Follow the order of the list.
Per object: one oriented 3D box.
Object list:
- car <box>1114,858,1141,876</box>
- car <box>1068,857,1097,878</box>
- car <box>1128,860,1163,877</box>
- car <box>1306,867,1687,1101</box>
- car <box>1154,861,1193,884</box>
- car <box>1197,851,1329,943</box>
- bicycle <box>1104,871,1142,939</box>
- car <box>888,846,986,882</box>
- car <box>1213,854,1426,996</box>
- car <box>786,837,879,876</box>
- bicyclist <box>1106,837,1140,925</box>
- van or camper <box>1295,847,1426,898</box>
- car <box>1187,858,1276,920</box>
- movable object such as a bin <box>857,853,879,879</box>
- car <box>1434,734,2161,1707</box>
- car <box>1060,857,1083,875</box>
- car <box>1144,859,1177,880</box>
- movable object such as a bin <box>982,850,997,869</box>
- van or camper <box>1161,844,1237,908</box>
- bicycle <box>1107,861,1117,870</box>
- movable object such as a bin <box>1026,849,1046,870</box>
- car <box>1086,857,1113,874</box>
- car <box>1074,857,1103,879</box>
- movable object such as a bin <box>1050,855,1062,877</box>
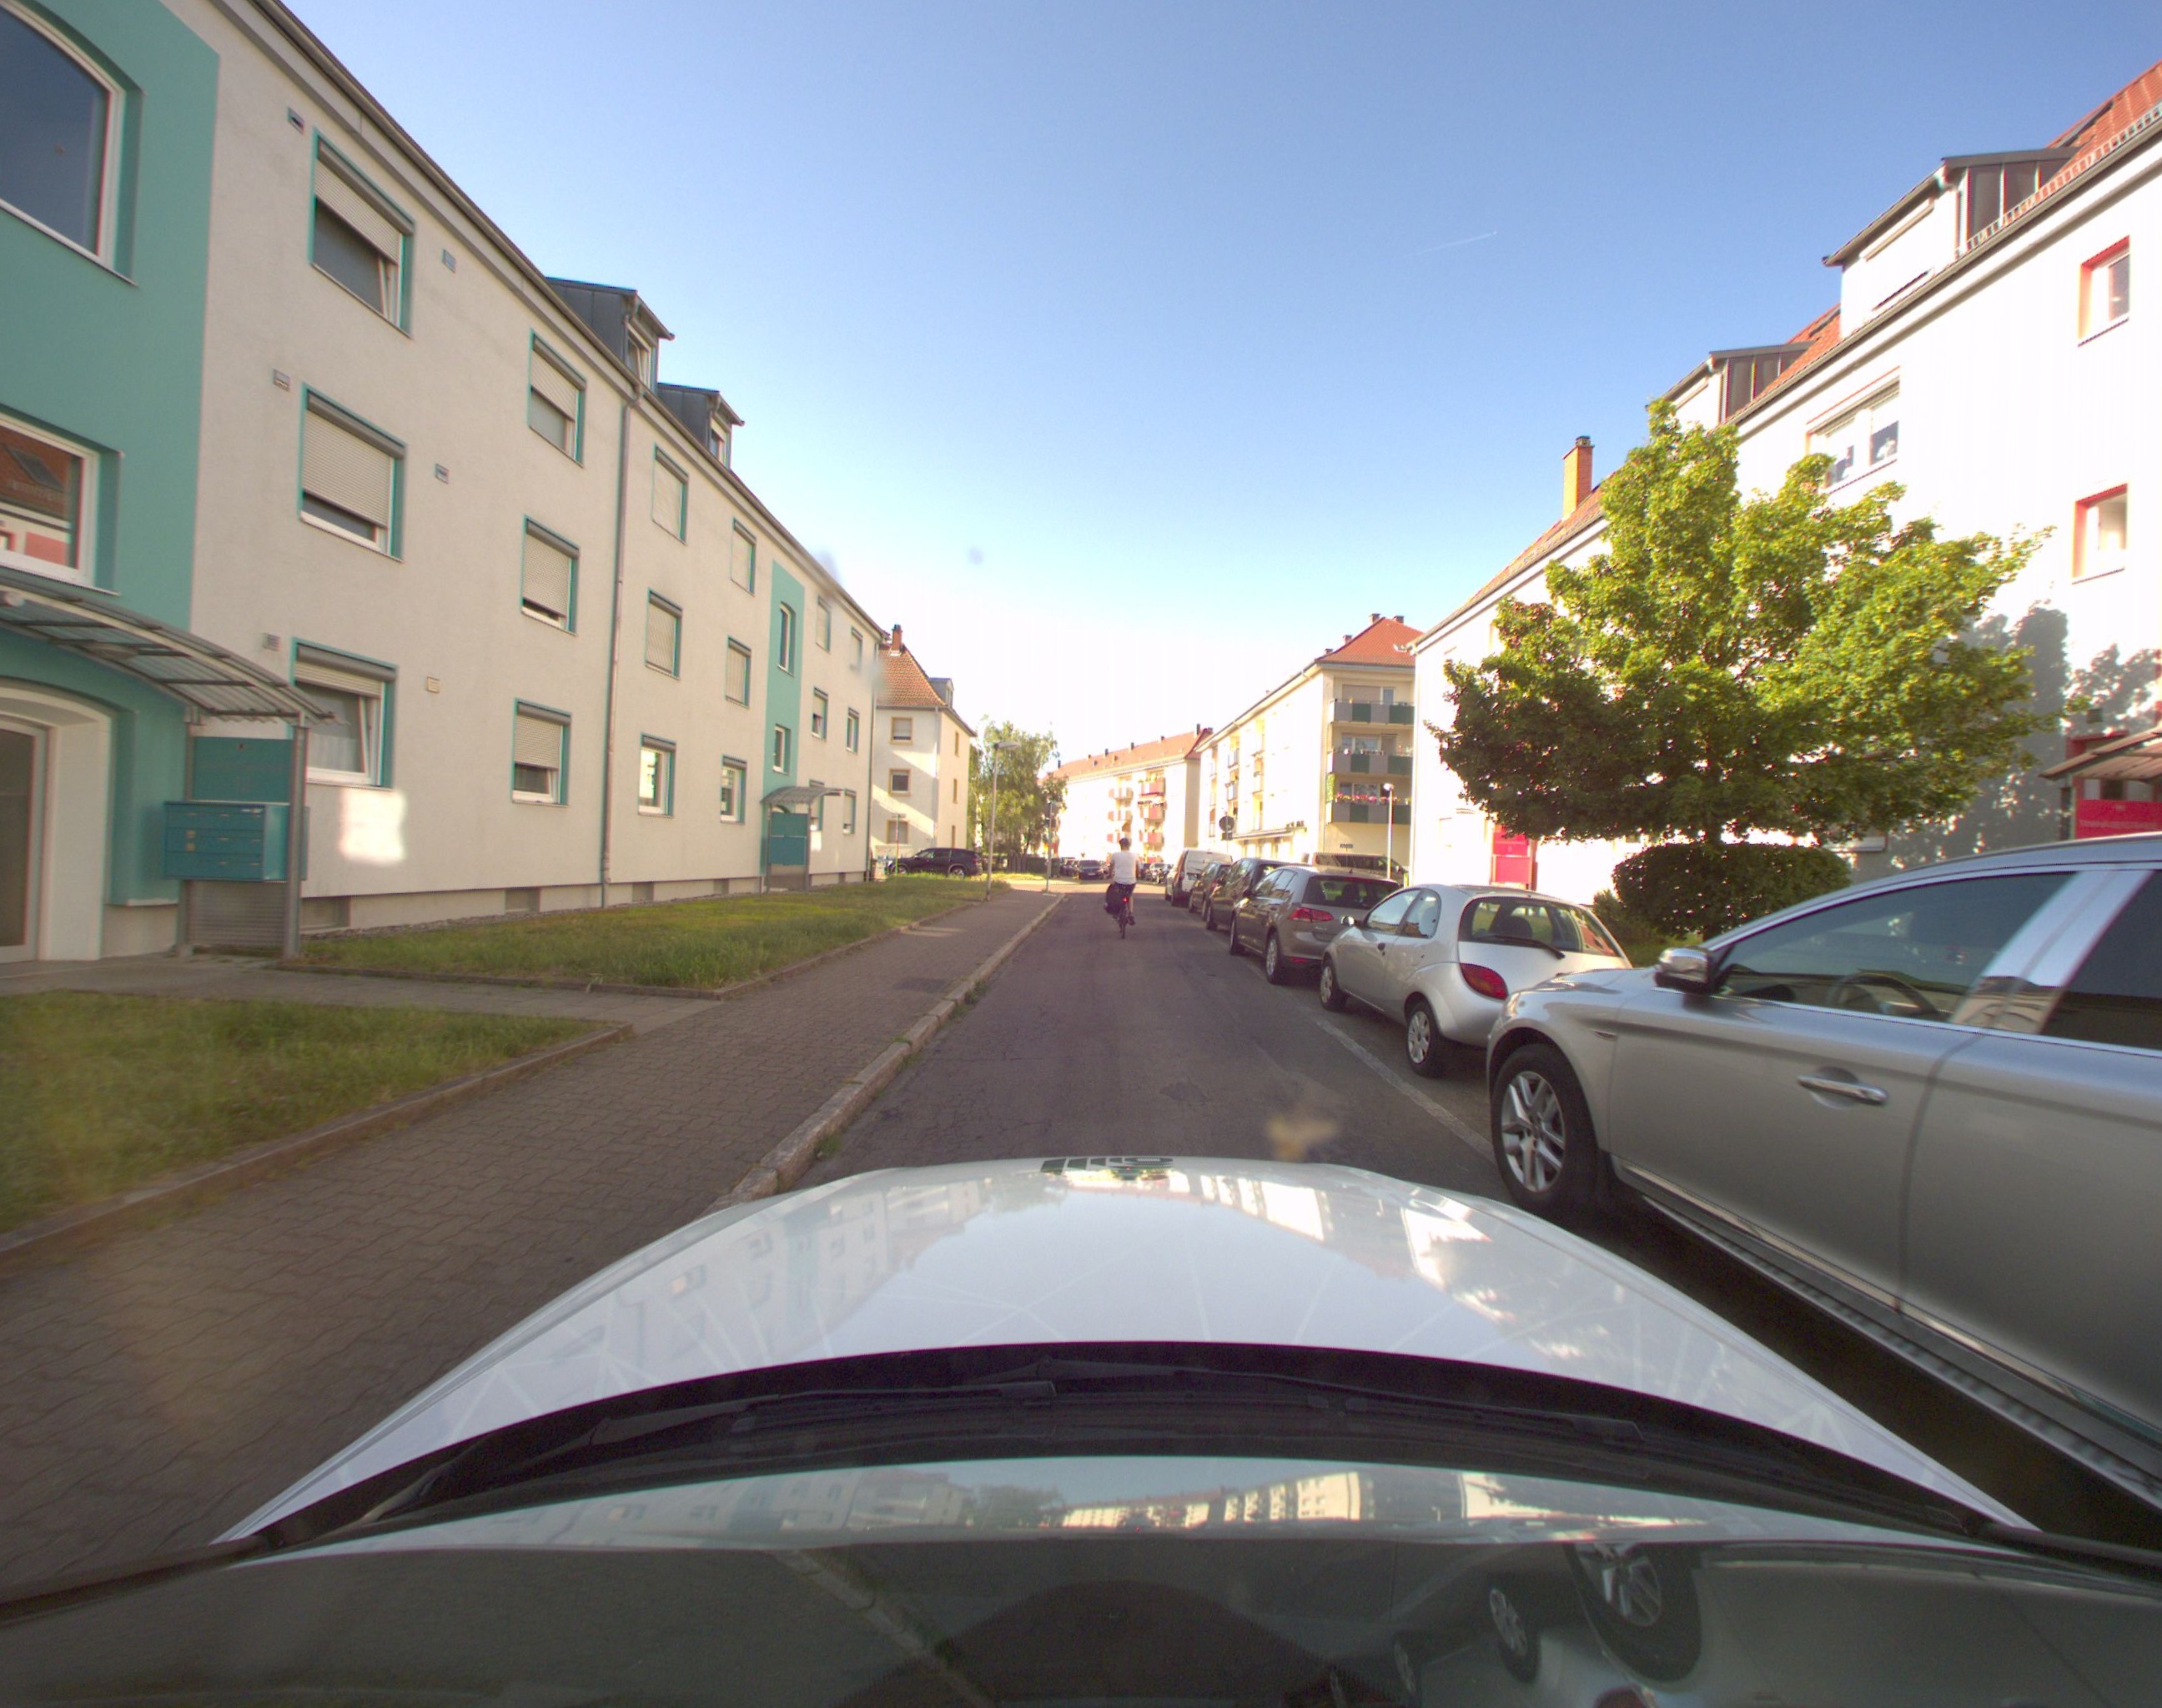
[{"bbox_3d":[4.307,1.229,75.524,1.693,1.656,4.377,0,-2,-8],"label":"car"},{"bbox_3d":[0.091,1.006,62.018,1.676,1.442,4.269,-1,0,-7],"label":"car"},{"bbox_3d":[5.381,1.207,68.625,1.695,1.431,4.669,0,-1,-12],"label":"car"},{"bbox_3d":[3.266,0.896,7.204,1.622,1.394,3.490,4,0,2],"label":"car"},{"bbox_3d":[6.404,1.230,56.789,1.676,1.407,4.536,2,0,-6],"label":"car"},{"bbox_3d":[3.449,0.758,16.067,1.613,1.550,3.608,2,0,-2],"label":"car"},{"bbox_3d":[0.759,0.906,15.034,0.625,1.115,1.816,1,0,1],"label":"bicycle"},{"bbox_3d":[-7.019,0.514,39.986,4.472,1.664,1.719,1,-2,1],"label":"car"},{"bbox_3d":[3.039,0.815,11.235,1.624,1.450,3.950,3,1,-2],"label":"car"},{"bbox_3d":[-12.178,0.150,40.034,3.976,1.789,1.720,1,-2,1],"label":"car"},{"bbox_3d":[0.761,0.495,15.033,0.594,1.579,0.907,0,-1,1],"label":"bicyclist"},{"bbox_3d":[12.318,0.786,36.165,5.104,2.013,2.001,2,1,2],"label":"van or camper"},{"bbox_3d":[3.718,0.812,20.695,1.568,1.417,3.787,0,0,0],"label":"car"},{"bbox_3d":[-8.342,0.473,31.897,0.611,0.992,0.715,2,0,0],"label":"movable object such as a bin"},{"bbox_3d":[2.785,0.701,2.087,1.770,1.719,4.306,4,0,-1],"label":"car"},{"bbox_3d":[-0.857,1.041,69.788,1.554,1.442,3.958,-1,0,-7],"label":"car"},{"bbox_3d":[6.105,1.186,62.982,1.675,1.447,4.716,2,0,-5],"label":"car"},{"bbox_3d":[-6.824,0.394,60.738,1.057,1.435,1.002,0,0,-1],"label":"movable object such as a bin"},{"bbox_3d":[3.660,0.648,25.942,1.785,1.747,4.737,4,0,2],"label":"van or camper"},{"bbox_3d":[3.696,1.383,97.198,0.619,0.978,1.883,-1,2,-20],"label":"bicycle"},{"bbox_3d":[-3.073,0.387,55.522,1.214,1.380,0.768,2,-1,4],"label":"movable object such as a bin"},{"bbox_3d":[1.965,1.225,87.957,1.770,1.635,4.018,0,1,-17],"label":"car"},{"bbox_3d":[0.487,0.926,56.778,1.674,1.453,4.615,-1,0,-3],"label":"car"},{"bbox_3d":[-1.703,0.805,55.132,0.773,1.393,1.417,1,-1,0],"label":"movable object such as a bin"}]
